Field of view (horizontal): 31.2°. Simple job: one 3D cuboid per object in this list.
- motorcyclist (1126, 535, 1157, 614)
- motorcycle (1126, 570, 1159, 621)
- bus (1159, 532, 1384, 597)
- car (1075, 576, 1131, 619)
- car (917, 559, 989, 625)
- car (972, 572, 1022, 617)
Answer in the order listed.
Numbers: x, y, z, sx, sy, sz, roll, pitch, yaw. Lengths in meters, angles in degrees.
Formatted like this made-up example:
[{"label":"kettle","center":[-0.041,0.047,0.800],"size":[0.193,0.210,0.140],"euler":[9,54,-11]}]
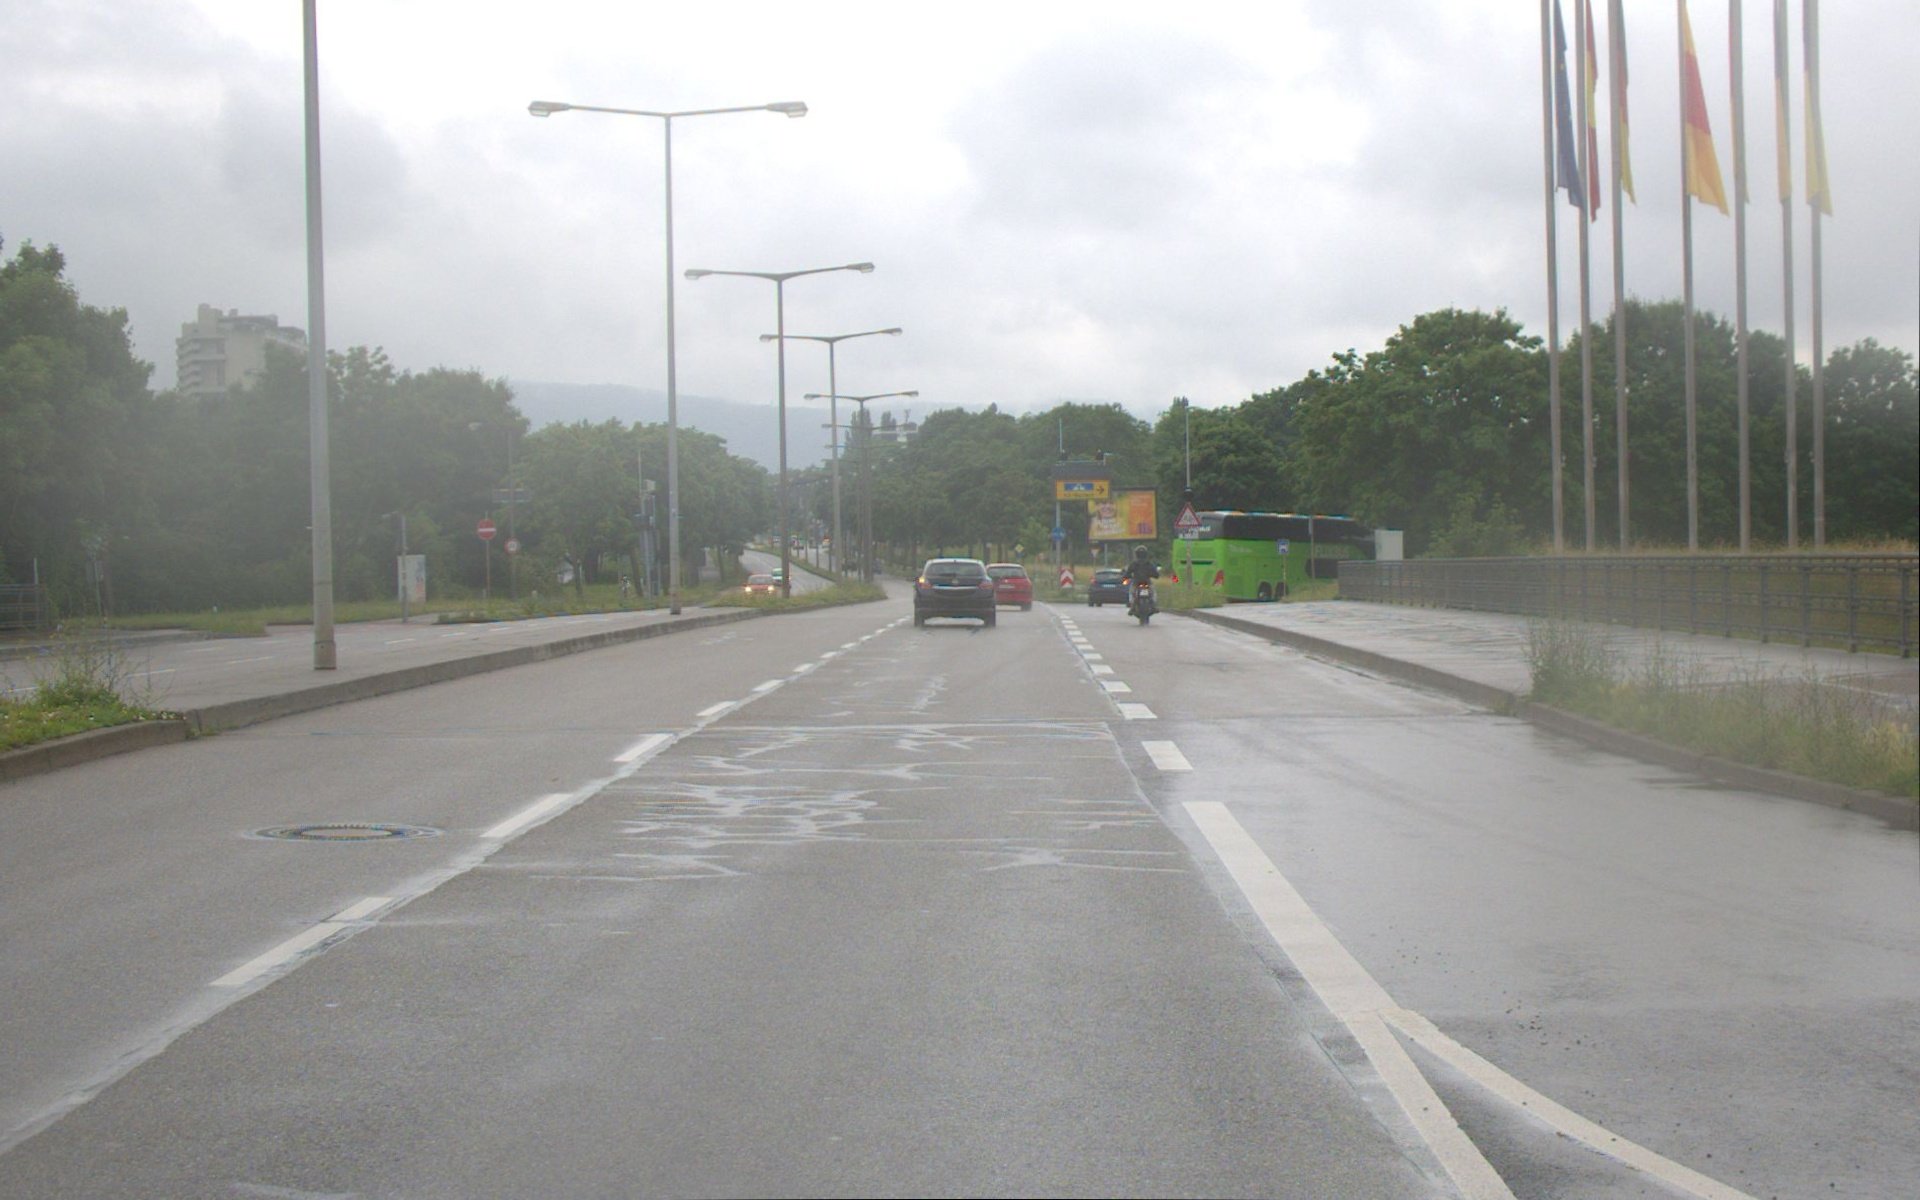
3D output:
[{"label":"motorcyclist","center":[3.915,-0.555,74.150],"size":[0.601,1.684,0.860],"euler":[0,1,-1]},{"label":"motorcycle","center":[3.925,-0.106,74.174],"size":[0.601,1.089,1.732],"euler":[0,1,-1]},{"label":"bus","center":[13.858,-1.526,151.145],"size":[2.760,2.670,14.561],"euler":[1,0,36]},{"label":"car","center":[5.470,-0.104,131.961],"size":[1.854,1.612,4.000],"euler":[1,0,-1]},{"label":"car","center":[-0.168,-0.185,71.749],"size":[1.463,1.324,3.758],"euler":[0,1,-1]},{"label":"car","center":[1.114,-0.189,105.390],"size":[1.463,1.324,3.758],"euler":[0,1,-1]}]
